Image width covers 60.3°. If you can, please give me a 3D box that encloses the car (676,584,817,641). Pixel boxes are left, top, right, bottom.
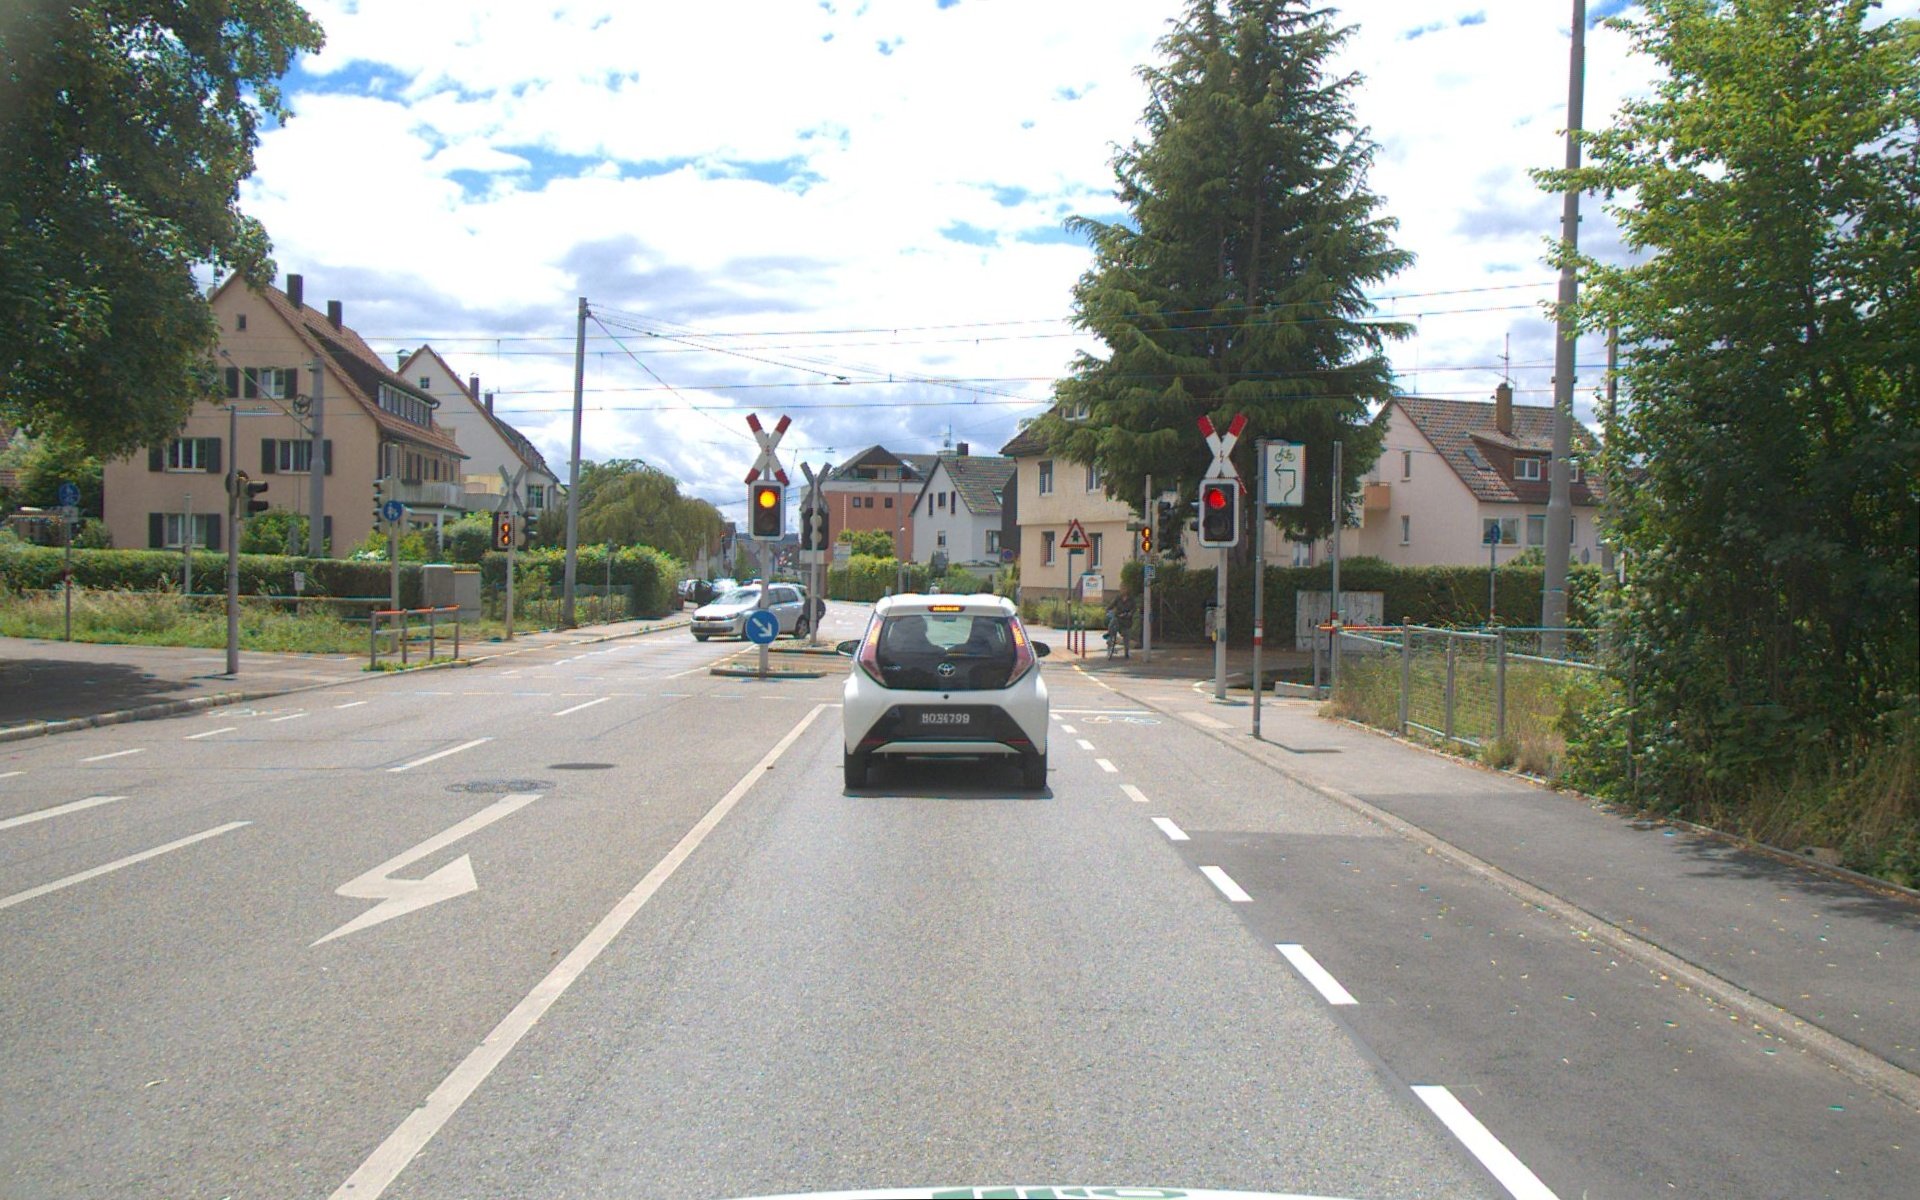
[{"bbox_3d":[-5.823,0.346,45.637,1.868,1.466,4.094,2,0,27],"label":"car"}]

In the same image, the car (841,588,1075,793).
[{"bbox_3d":[-0.143,0.659,14.036,1.687,1.467,3.705,2,0,-4],"label":"car"}]

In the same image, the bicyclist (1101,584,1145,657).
[{"bbox_3d":[3.705,0.461,37.678,0.825,1.580,0.755,-2,3,-7],"label":"bicyclist"}]

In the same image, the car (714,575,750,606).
[{"bbox_3d":[-13.232,-0.553,96.288,1.956,1.749,3.994,2,0,-7],"label":"car"}]

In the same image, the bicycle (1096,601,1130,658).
[{"bbox_3d":[3.476,0.667,37.695,0.449,1.192,1.477,-2,3,-6],"label":"bicycle"}]
